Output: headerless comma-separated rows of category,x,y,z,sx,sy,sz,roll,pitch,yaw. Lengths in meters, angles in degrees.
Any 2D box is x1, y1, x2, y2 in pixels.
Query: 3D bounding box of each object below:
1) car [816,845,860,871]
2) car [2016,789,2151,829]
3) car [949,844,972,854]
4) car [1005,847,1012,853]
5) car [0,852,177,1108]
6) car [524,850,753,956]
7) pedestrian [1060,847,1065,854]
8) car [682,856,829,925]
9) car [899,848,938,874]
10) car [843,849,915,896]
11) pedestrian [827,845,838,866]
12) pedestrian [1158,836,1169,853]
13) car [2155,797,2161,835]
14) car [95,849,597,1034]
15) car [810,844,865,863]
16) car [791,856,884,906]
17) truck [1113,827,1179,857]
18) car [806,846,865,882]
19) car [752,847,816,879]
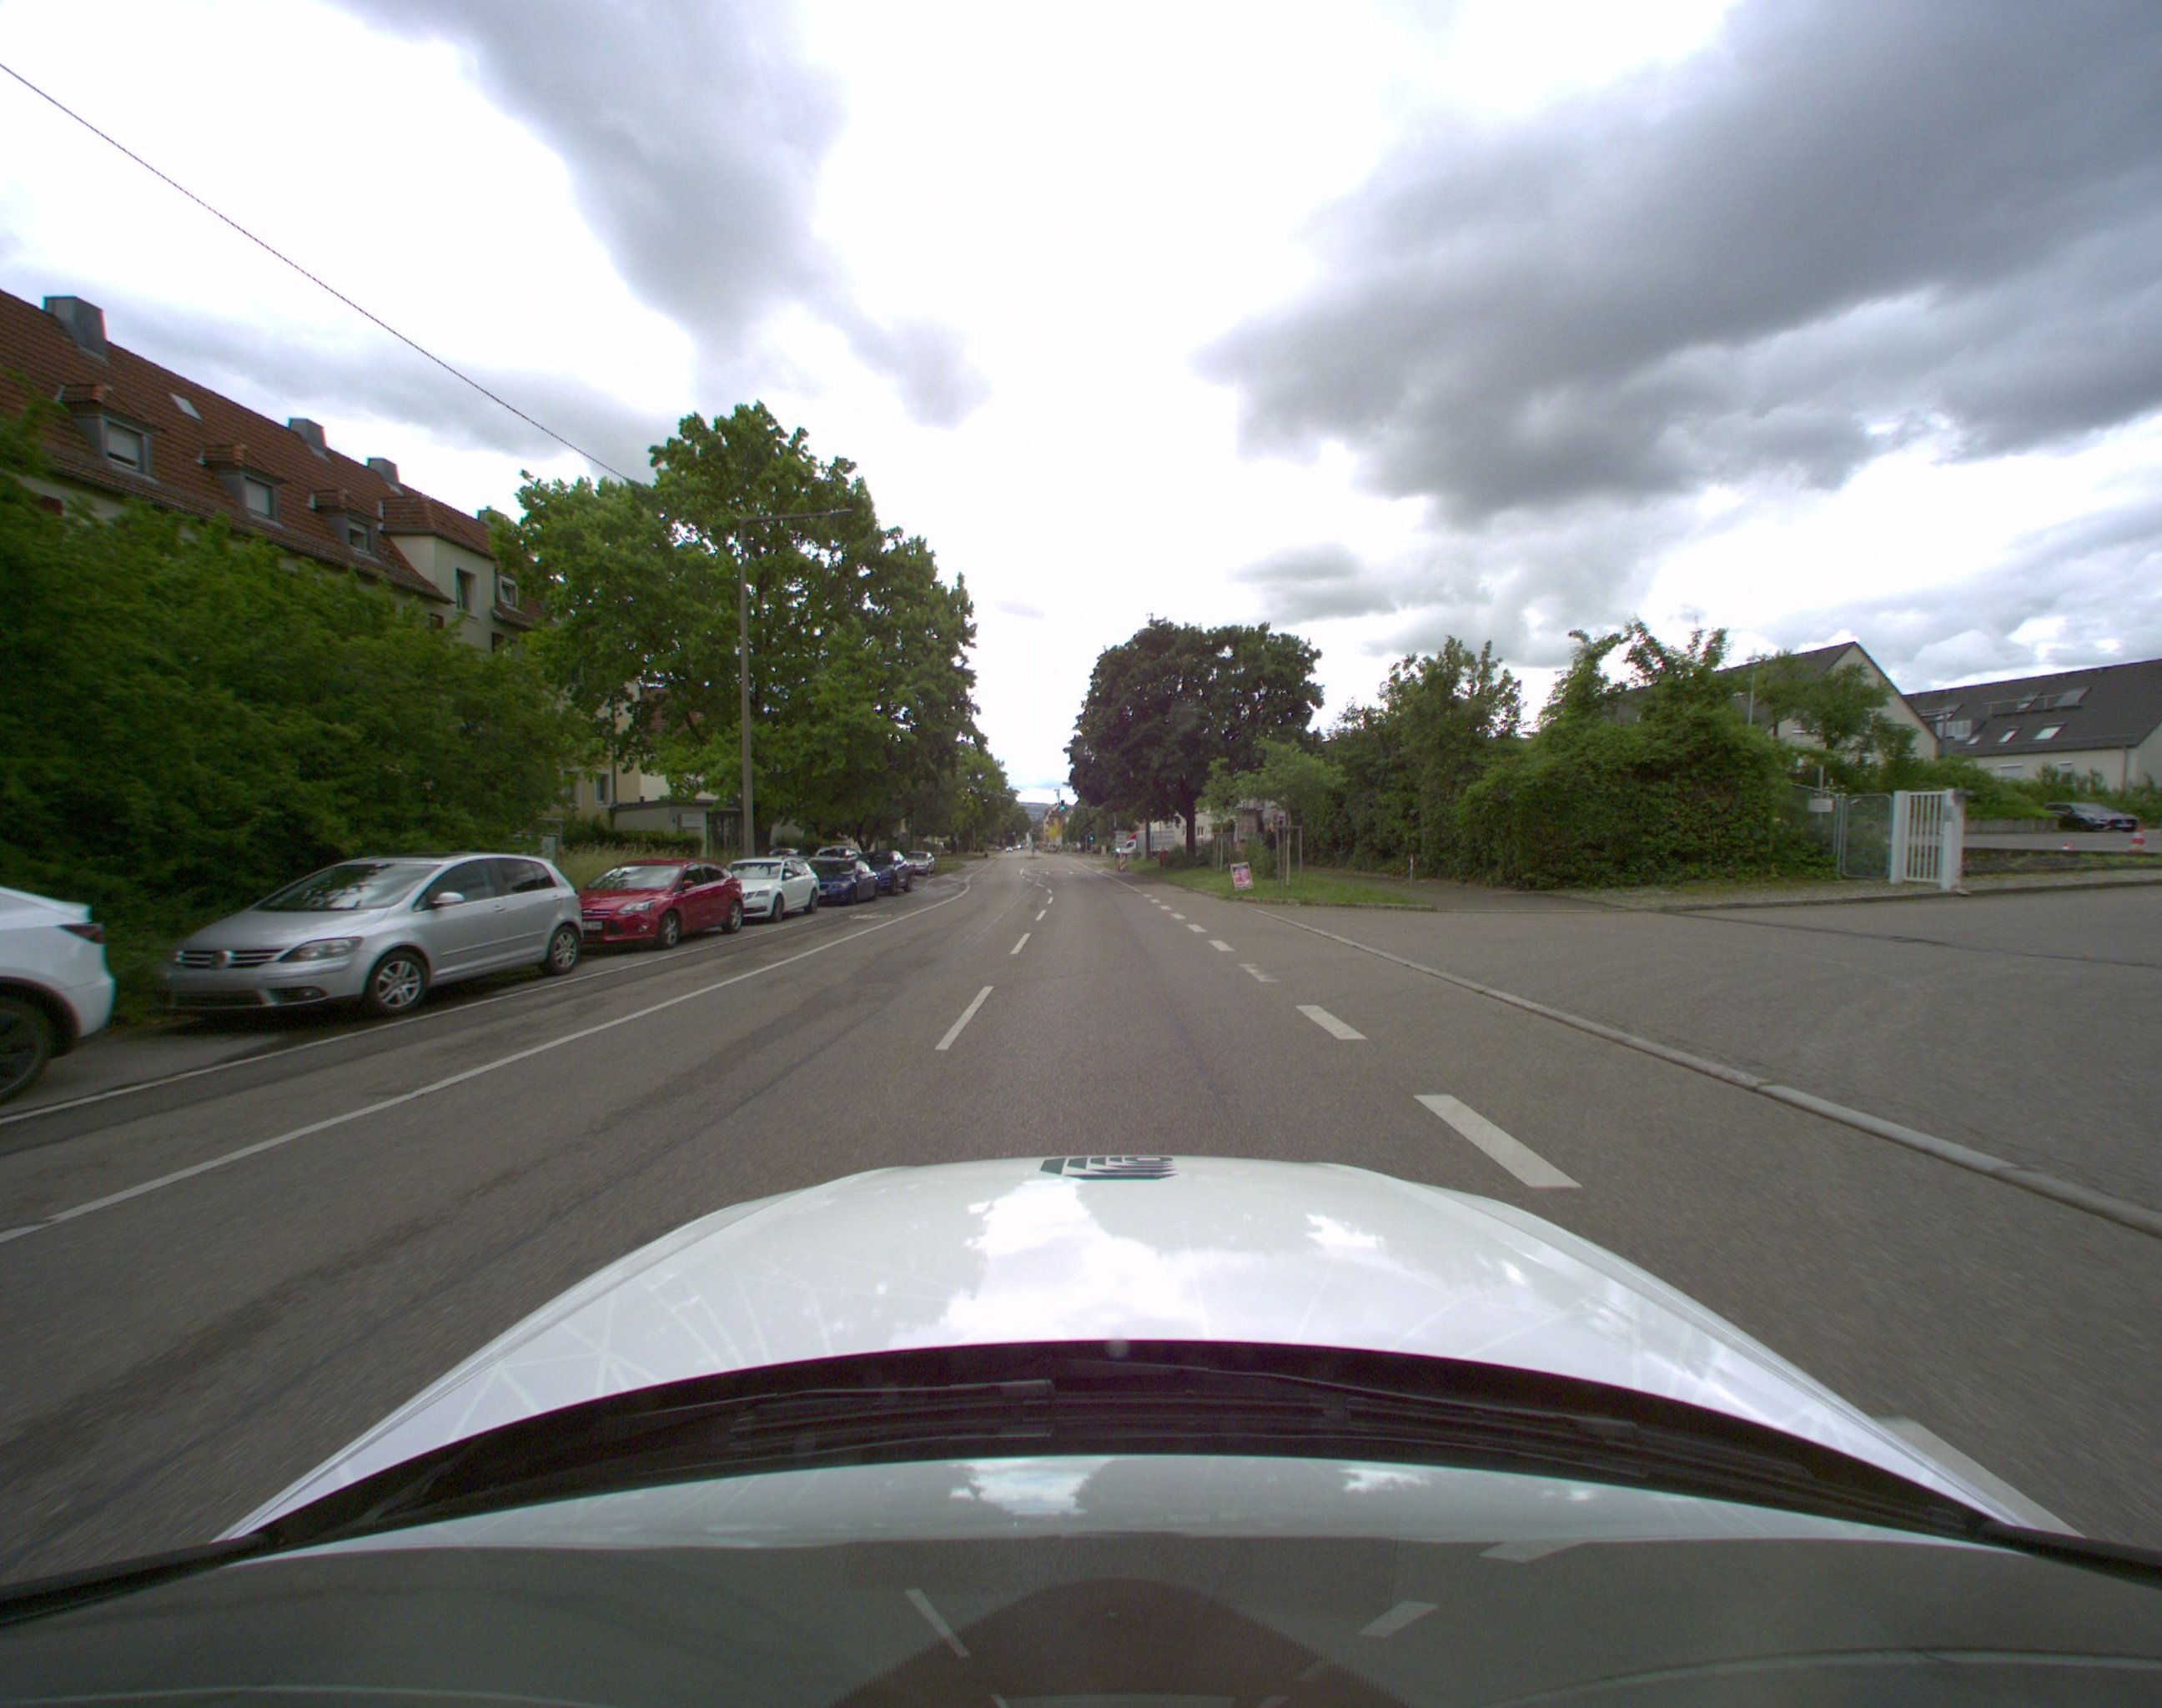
car,-15.754,0.231,52.990,1.757,1.633,4.283,1,0,-3
car,49.416,-2.194,40.285,1.785,1.751,4.093,1,0,4
car,-19.054,-0.813,128.590,3.444,1.596,1.996,1,0,-6
car,-20.102,-1.053,226.086,1.990,1.505,3.993,1,0,-5
car,-7.621,0.790,3.611,1.760,1.573,4.763,-1,0,3
car,-7.494,0.736,14.364,1.710,1.573,4.368,0,0,-1
pedestrian,-4.657,-1.002,208.325,1.197,1.810,1.299,1,0,-3
car,-7.626,0.776,19.626,1.710,1.459,4.754,0,0,-1
car,-10.718,0.447,53.993,1.757,1.633,4.749,1,0,-2
car,-7.663,0.647,31.303,1.710,1.612,4.533,0,1,-1
pedestrian,-19.078,0.109,62.545,0.629,1.613,0.828,1,0,-6
pedestrian,8.711,-1.004,86.364,0.750,1.855,0.949,-3,1,-18
car,41.348,-1.388,28.697,2.011,1.368,3.990,0,0,-44
car,-7.493,0.752,9.020,1.863,1.573,4.117,0,0,-2
car,-24.666,-0.080,82.548,4.985,1.813,1.996,1,0,-6
car,-7.552,0.790,25.651,1.710,1.389,4.336,0,0,-1
truck,7.393,-1.393,92.617,7.213,3.307,2.536,0,0,-4
car,-12.405,0.468,41.413,1.756,1.633,3.999,3,0,0
car,-15.087,0.413,41.622,1.757,1.470,4.437,3,0,-2
